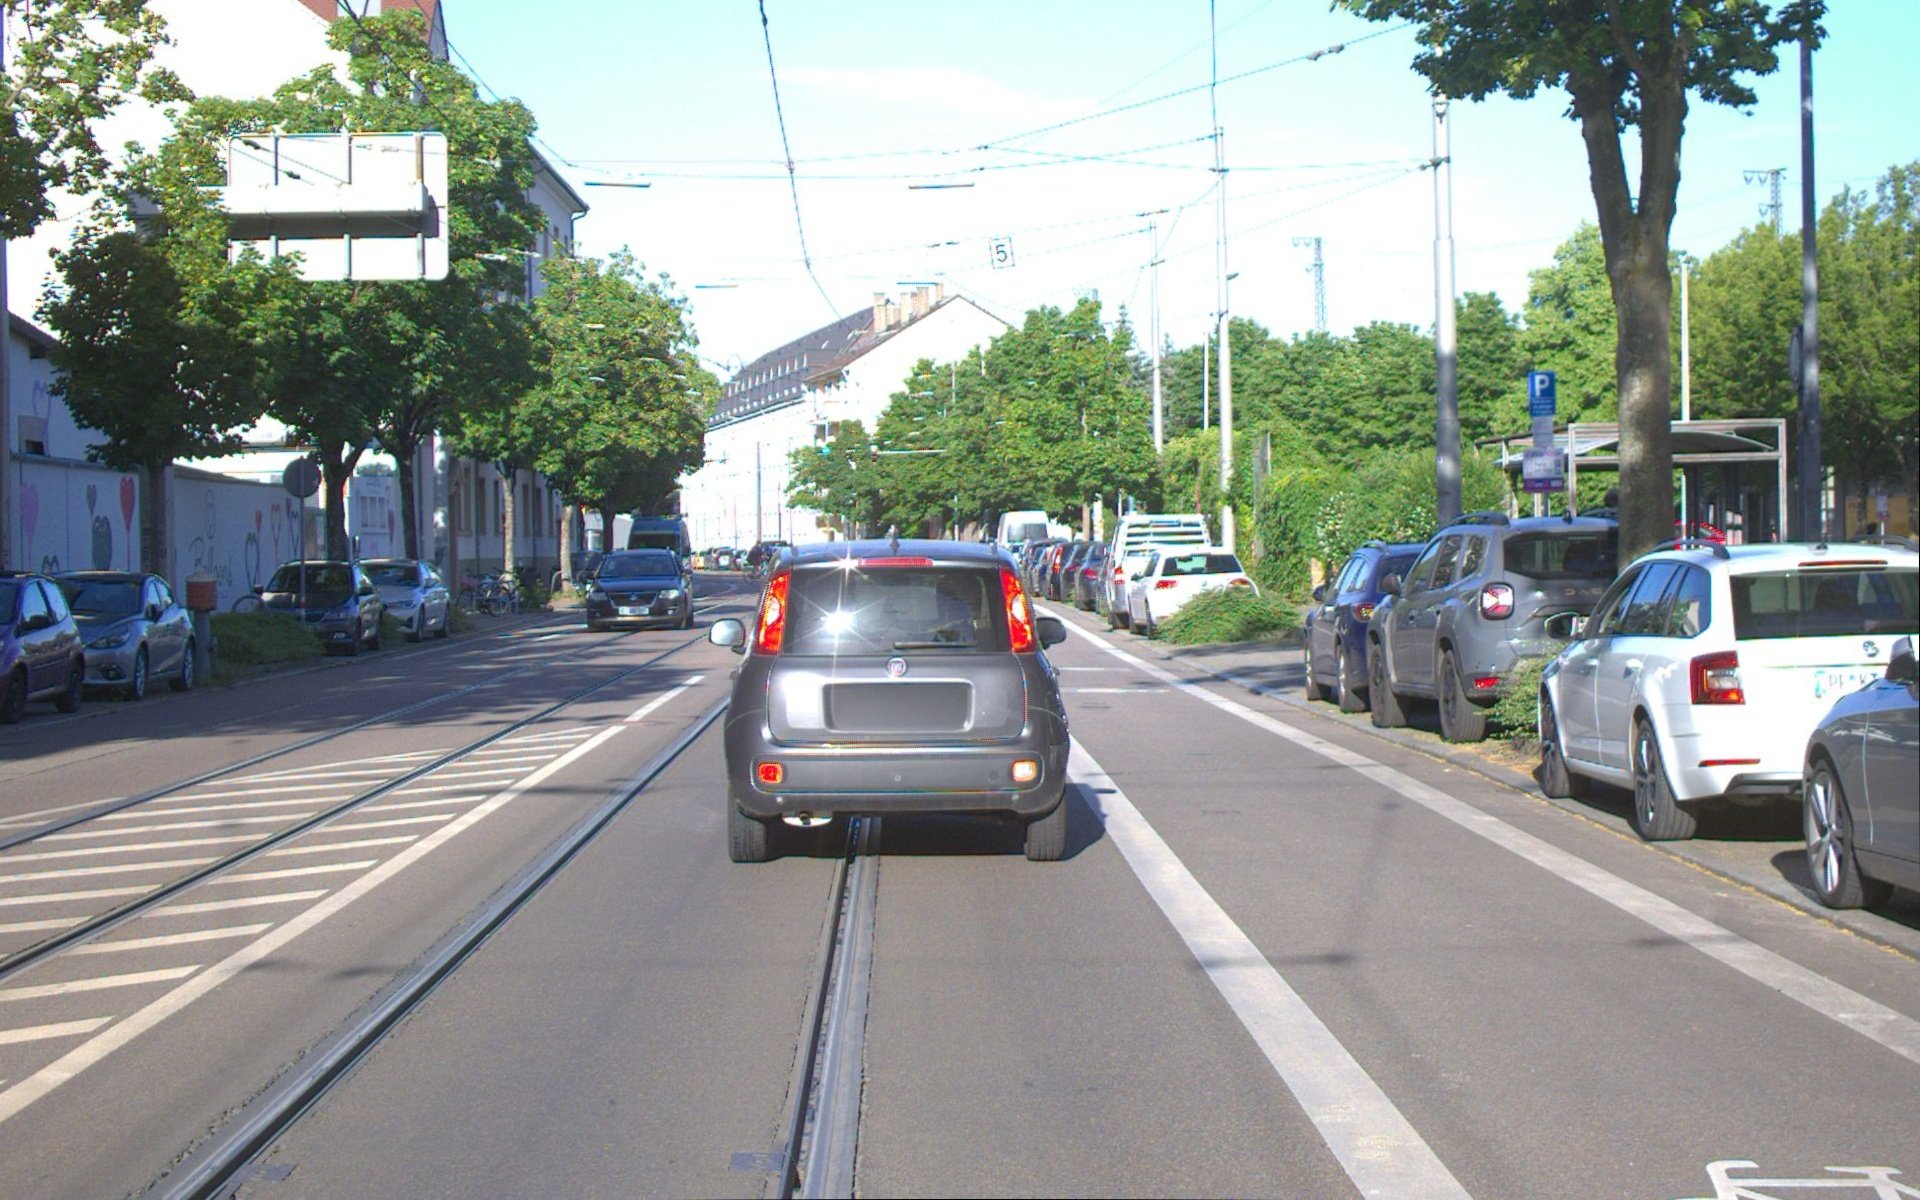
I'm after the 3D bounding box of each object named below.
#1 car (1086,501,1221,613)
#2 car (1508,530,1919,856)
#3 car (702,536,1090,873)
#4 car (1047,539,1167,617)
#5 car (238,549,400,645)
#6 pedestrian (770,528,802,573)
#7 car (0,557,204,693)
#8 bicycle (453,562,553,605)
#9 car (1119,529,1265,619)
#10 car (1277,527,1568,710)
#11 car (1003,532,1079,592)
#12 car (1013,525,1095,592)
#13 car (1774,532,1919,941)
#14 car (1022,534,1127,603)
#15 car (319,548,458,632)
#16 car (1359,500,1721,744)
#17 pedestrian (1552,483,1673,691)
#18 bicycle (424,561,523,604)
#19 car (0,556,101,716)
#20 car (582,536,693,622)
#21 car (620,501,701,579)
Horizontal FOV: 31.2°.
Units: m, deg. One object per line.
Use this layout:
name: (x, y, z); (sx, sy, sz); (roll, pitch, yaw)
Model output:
car: (3.430, -0.785, 61.575); (1.955, 1.898, 4.189); (-2, 1, -2)
car: (4.183, 0.383, 18.163); (1.746, 1.453, 4.619); (-2, 1, -1)
car: (-0.316, 0.451, 17.570); (1.731, 1.495, 4.000); (-1, 1, -1)
car: (2.849, -0.456, 67.285); (1.955, 1.415, 4.189); (-2, 1, -2)
car: (-10.252, -0.073, 55.269); (1.955, 1.415, 4.189); (-2, 1, -2)
pedestrian: (-6.931, -1.985, 136.840); (0.998, 1.768, 0.891); (-2, 1, -19)
car: (-10.124, 0.257, 39.758); (1.955, 1.415, 4.189); (-2, 1, -2)
bicycle: (-10.535, -0.382, 79.193); (2.322, 0.927, 0.789); (-1, 1, 35)
car: (3.784, -0.456, 56.671); (1.914, 1.371, 4.189); (-2, 1, -2)
car: (4.064, 0.114, 30.817); (1.842, 1.478, 4.189); (-2, 1, -2)
car: (2.097, -1.011, 90.067); (1.695, 1.494, 4.001); (-2, 1, -2)
car: (2.260, -1.022, 83.645); (1.695, 1.542, 4.001); (-2, 1, -2)
car: (4.352, 0.480, 12.224); (1.822, 1.459, 4.157); (-1, 1, -1)
car: (2.470, -0.714, 75.241); (1.955, 1.415, 4.189); (-2, 1, -2)
car: (-10.360, -0.209, 62.580); (1.955, 1.415, 4.189); (-2, 1, -2)
car: (4.235, 0.108, 25.718); (1.817, 1.634, 4.105); (-2, 1, -2)
pedestrian: (6.451, -0.136, 34.045); (0.968, 2.007, 1.025); (-1, 1, 0)
bicycle: (-11.085, -0.393, 78.299); (2.263, 0.927, 0.789); (-1, 1, 35)
car: (-9.956, 0.337, 34.518); (1.797, 1.481, 4.001); (-2, 1, -3)
car: (-5.828, -0.410, 62.425); (1.781, 1.487, 4.189); (-1, 1, -2)
car: (-10.191, -2.053, 117.323); (2.333, 2.560, 5.672); (-2, 1, -1)
